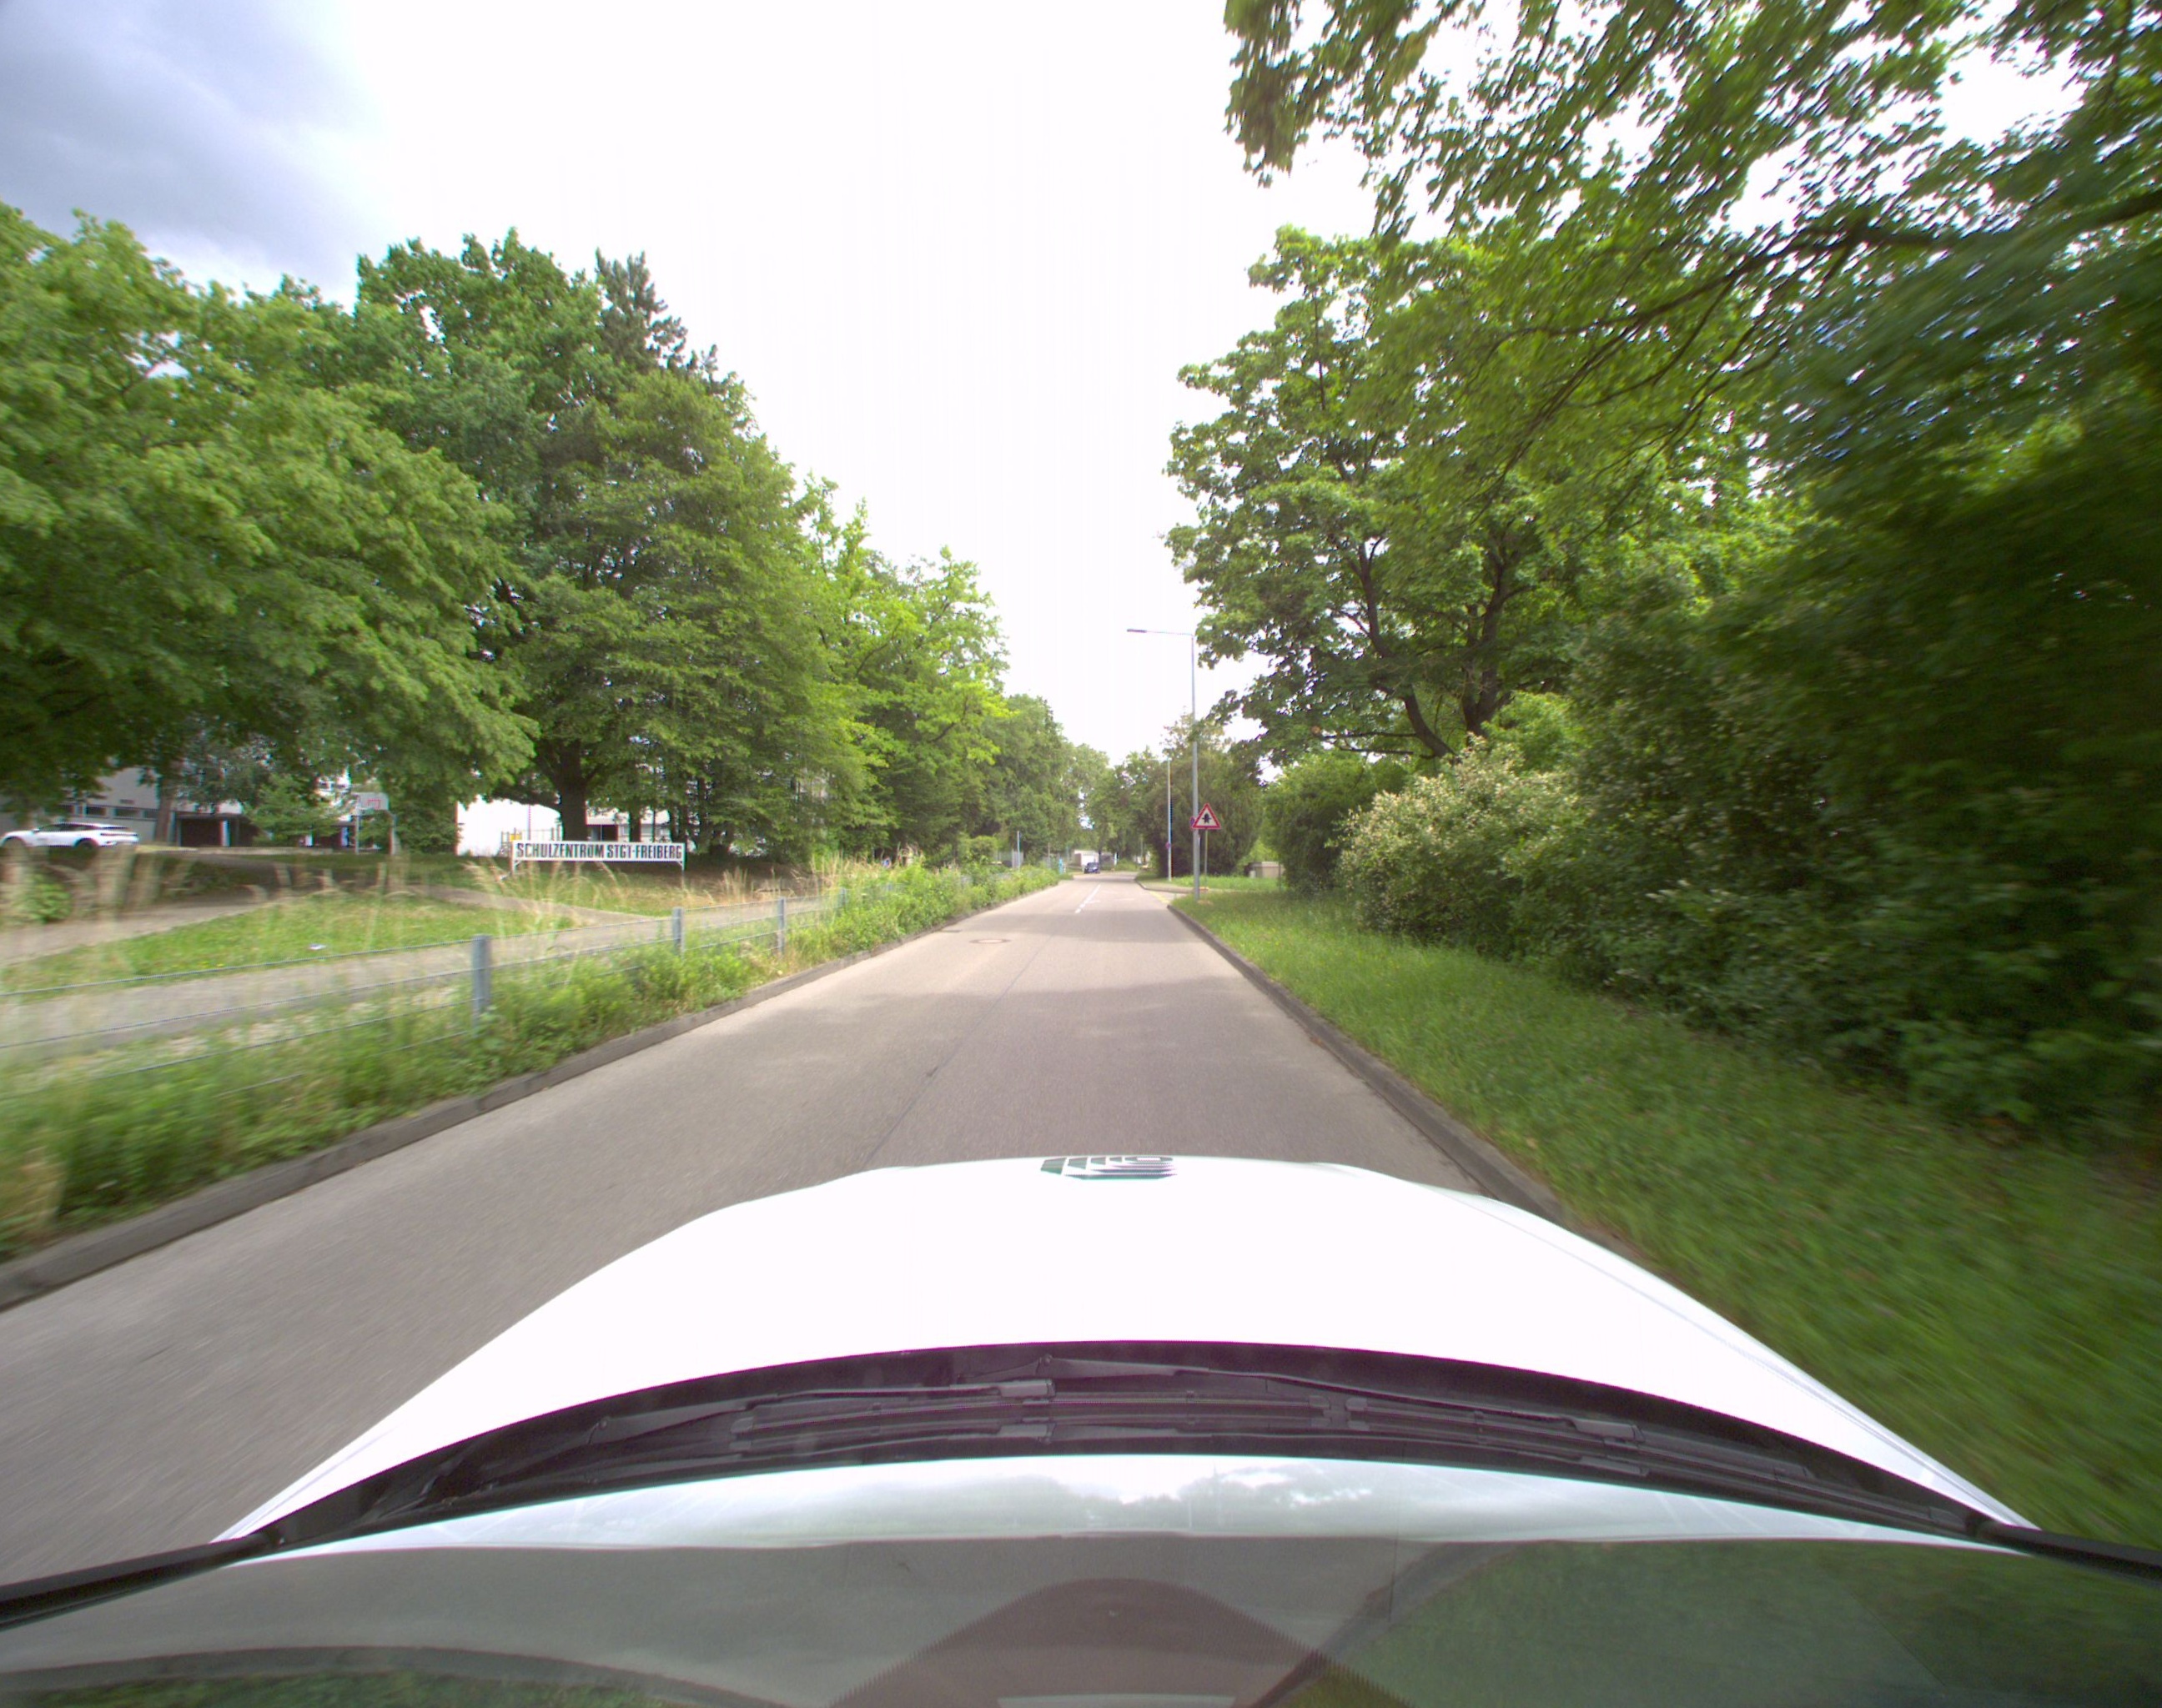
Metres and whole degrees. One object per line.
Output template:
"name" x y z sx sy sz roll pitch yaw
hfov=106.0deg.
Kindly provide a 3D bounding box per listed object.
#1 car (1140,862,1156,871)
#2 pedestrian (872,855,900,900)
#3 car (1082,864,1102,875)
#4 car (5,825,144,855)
"car" 11.912 2.225 144.793 1.845 1.492 4.017 -3 -3 17
"pedestrian" -8.957 1.094 37.443 0.872 2.014 0.867 0 -4 -42
"car" 1.495 2.029 107.530 1.967 1.383 4.011 0 0 10
"car" -50.011 -0.693 40.549 4.088 1.349 1.690 -1 0 -15
